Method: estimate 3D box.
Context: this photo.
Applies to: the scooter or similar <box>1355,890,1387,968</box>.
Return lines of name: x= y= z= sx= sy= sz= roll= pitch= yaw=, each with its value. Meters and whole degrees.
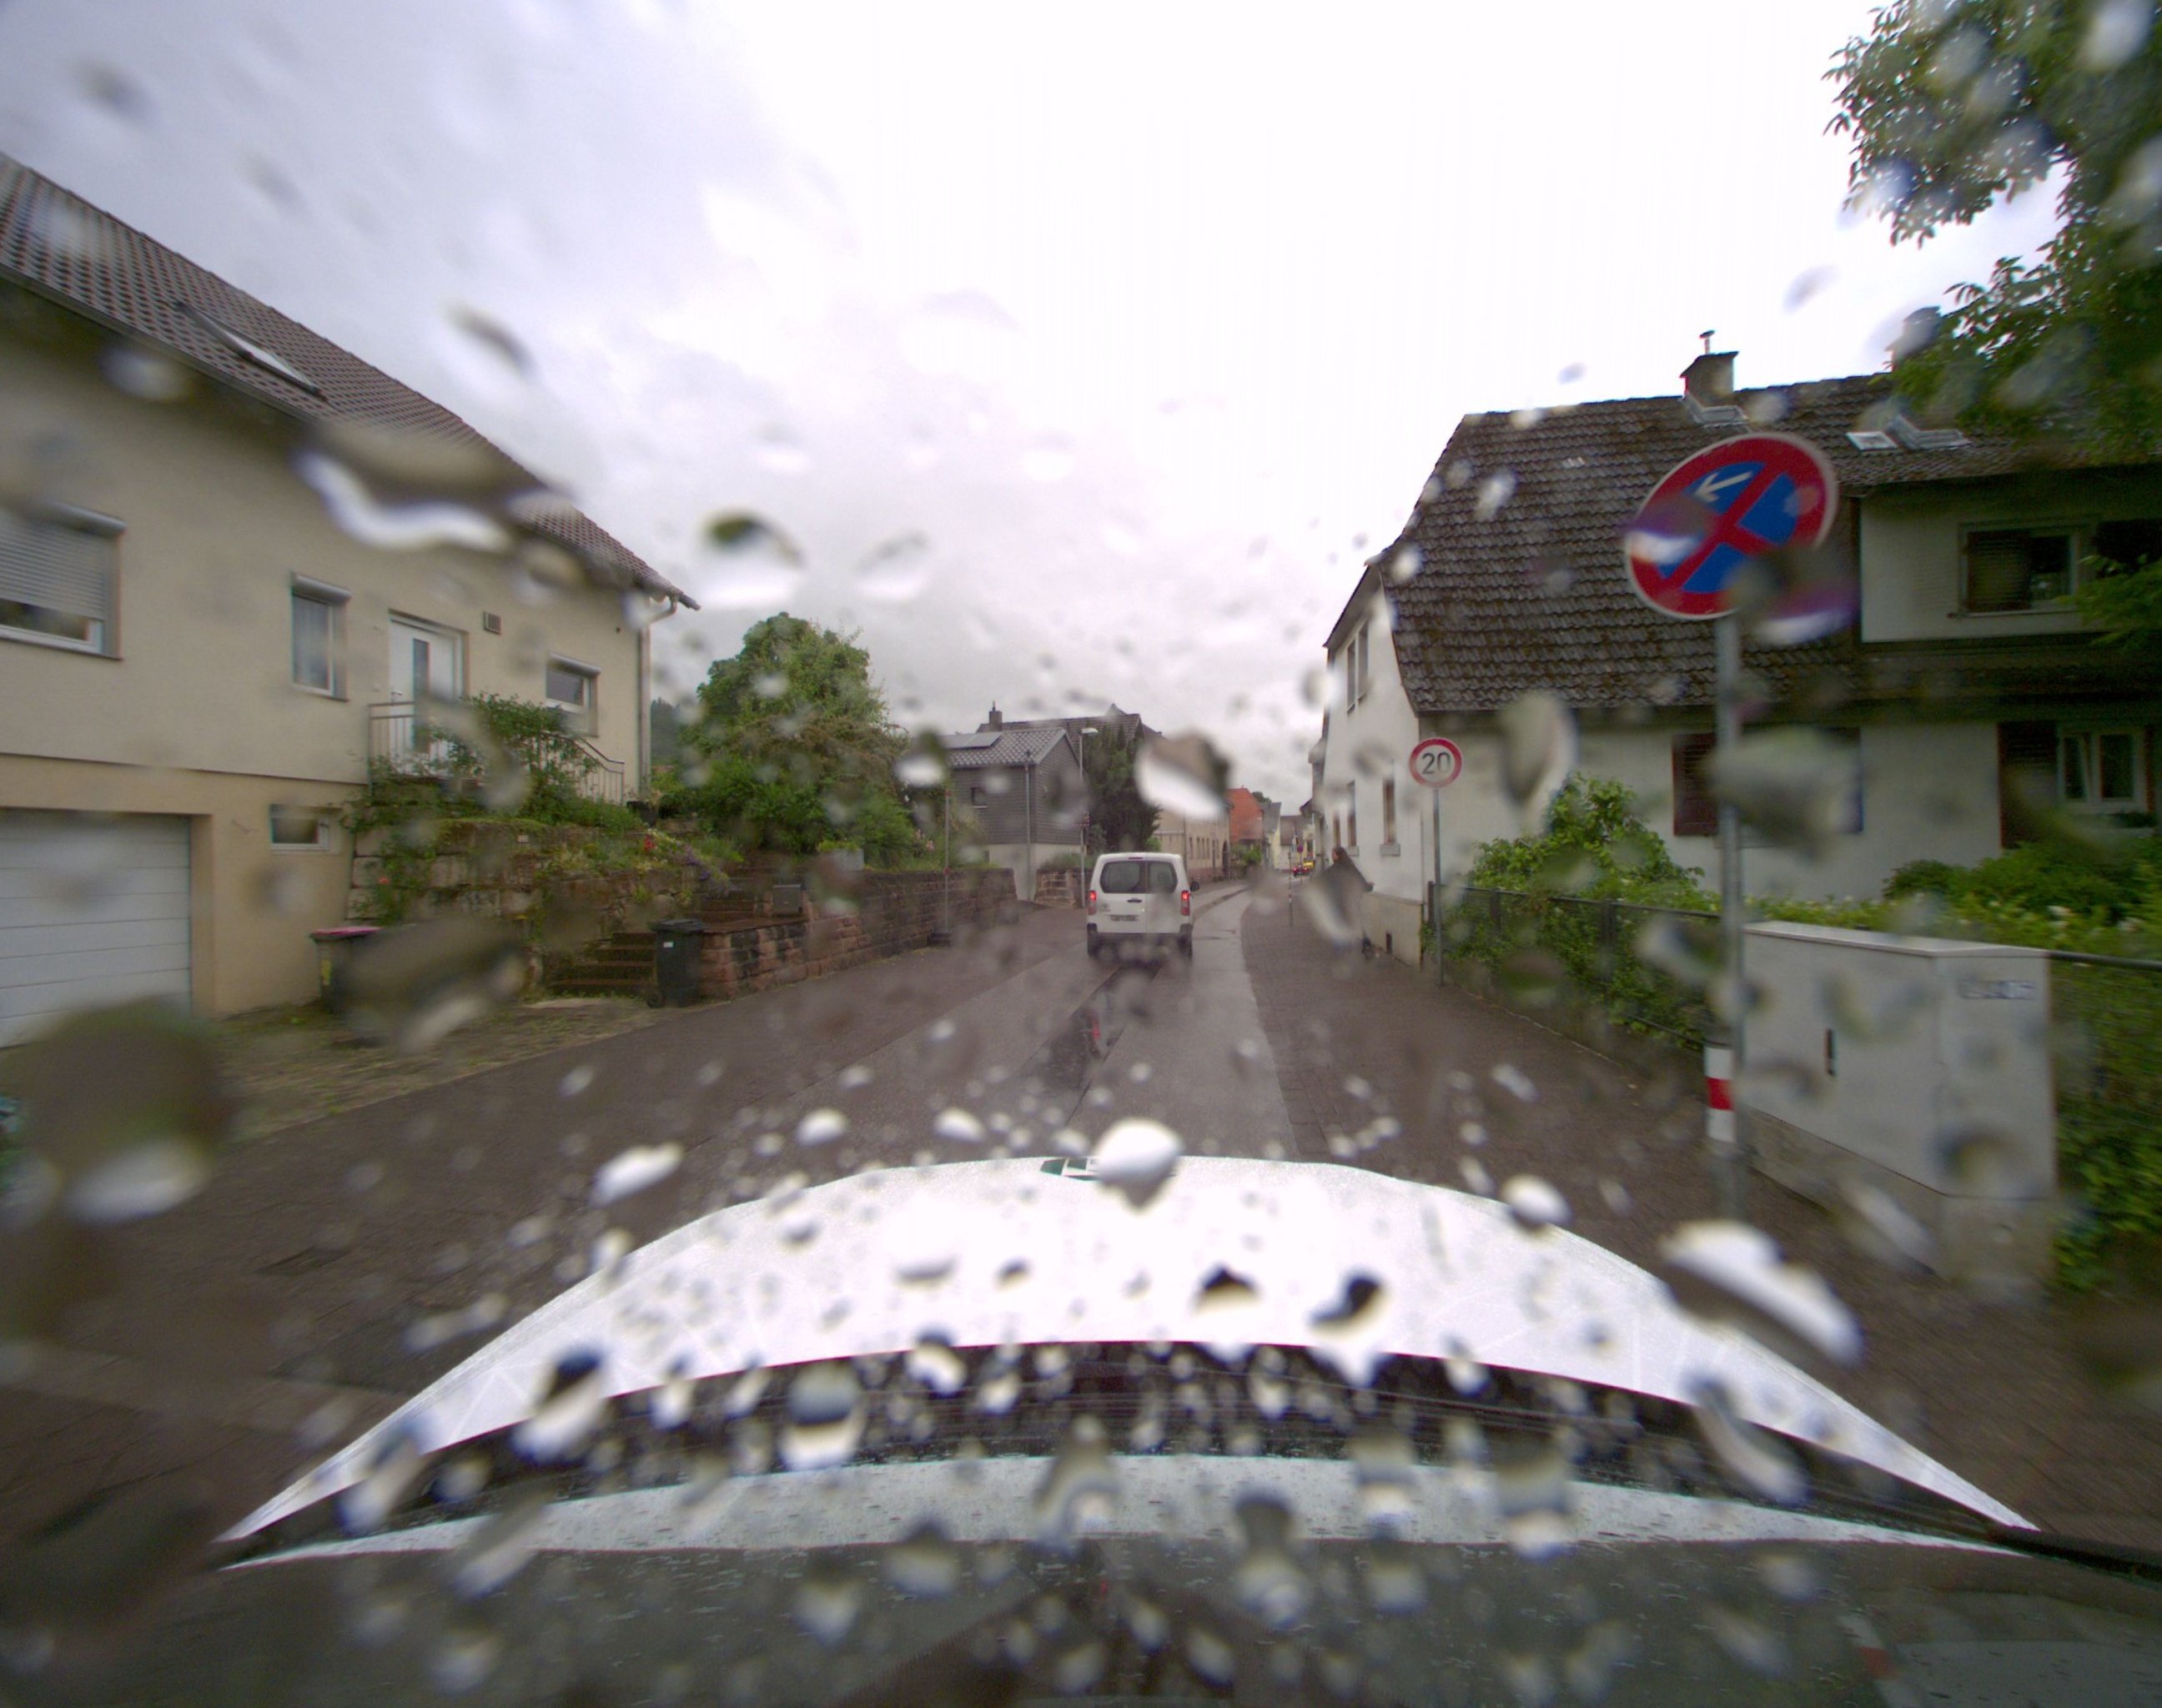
scooter or similar: x=4.231 y=1.065 z=11.906 sx=0.243 sy=1.028 sz=1.103 roll=1 pitch=0 yaw=9

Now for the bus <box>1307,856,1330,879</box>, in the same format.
bus: x=34.791 y=1.935 z=119.072 sx=2.770 sy=3.180 sz=8.217 roll=1 pitch=-1 yaw=19

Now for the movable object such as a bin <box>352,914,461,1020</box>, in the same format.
movable object such as a bin: x=-7.511 y=1.238 z=9.093 sx=0.618 sy=1.063 sz=0.658 roll=0 pitch=2 yaw=11

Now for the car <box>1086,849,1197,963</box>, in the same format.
car: x=1.226 y=0.874 z=15.284 sx=1.785 sy=1.819 sz=4.109 roll=1 pitch=-1 yaw=7

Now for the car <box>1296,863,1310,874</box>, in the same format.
car: x=28.998 y=1.900 z=106.258 sx=1.549 sy=1.371 sz=3.602 roll=0 pitch=-1 yaw=20

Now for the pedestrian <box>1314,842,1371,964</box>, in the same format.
pedestrian: x=3.855 y=0.701 z=12.066 sx=0.690 sy=1.732 sz=0.823 roll=1 pitch=0 yaw=10

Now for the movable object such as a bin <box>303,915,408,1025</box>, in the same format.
movable object such as a bin: x=-8.170 y=1.283 z=9.191 sx=0.602 sy=1.107 sz=0.653 roll=1 pitch=0 yaw=16

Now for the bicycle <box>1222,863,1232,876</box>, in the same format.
bicycle: x=13.078 y=1.393 z=72.870 sx=0.479 sy=1.180 sz=1.844 roll=0 pitch=-1 yaw=21

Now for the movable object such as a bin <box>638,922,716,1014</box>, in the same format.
movable object such as a bin: x=-4.418 y=1.236 z=8.937 sx=0.535 sy=0.930 sz=0.545 roll=0 pitch=-1 yaw=8
